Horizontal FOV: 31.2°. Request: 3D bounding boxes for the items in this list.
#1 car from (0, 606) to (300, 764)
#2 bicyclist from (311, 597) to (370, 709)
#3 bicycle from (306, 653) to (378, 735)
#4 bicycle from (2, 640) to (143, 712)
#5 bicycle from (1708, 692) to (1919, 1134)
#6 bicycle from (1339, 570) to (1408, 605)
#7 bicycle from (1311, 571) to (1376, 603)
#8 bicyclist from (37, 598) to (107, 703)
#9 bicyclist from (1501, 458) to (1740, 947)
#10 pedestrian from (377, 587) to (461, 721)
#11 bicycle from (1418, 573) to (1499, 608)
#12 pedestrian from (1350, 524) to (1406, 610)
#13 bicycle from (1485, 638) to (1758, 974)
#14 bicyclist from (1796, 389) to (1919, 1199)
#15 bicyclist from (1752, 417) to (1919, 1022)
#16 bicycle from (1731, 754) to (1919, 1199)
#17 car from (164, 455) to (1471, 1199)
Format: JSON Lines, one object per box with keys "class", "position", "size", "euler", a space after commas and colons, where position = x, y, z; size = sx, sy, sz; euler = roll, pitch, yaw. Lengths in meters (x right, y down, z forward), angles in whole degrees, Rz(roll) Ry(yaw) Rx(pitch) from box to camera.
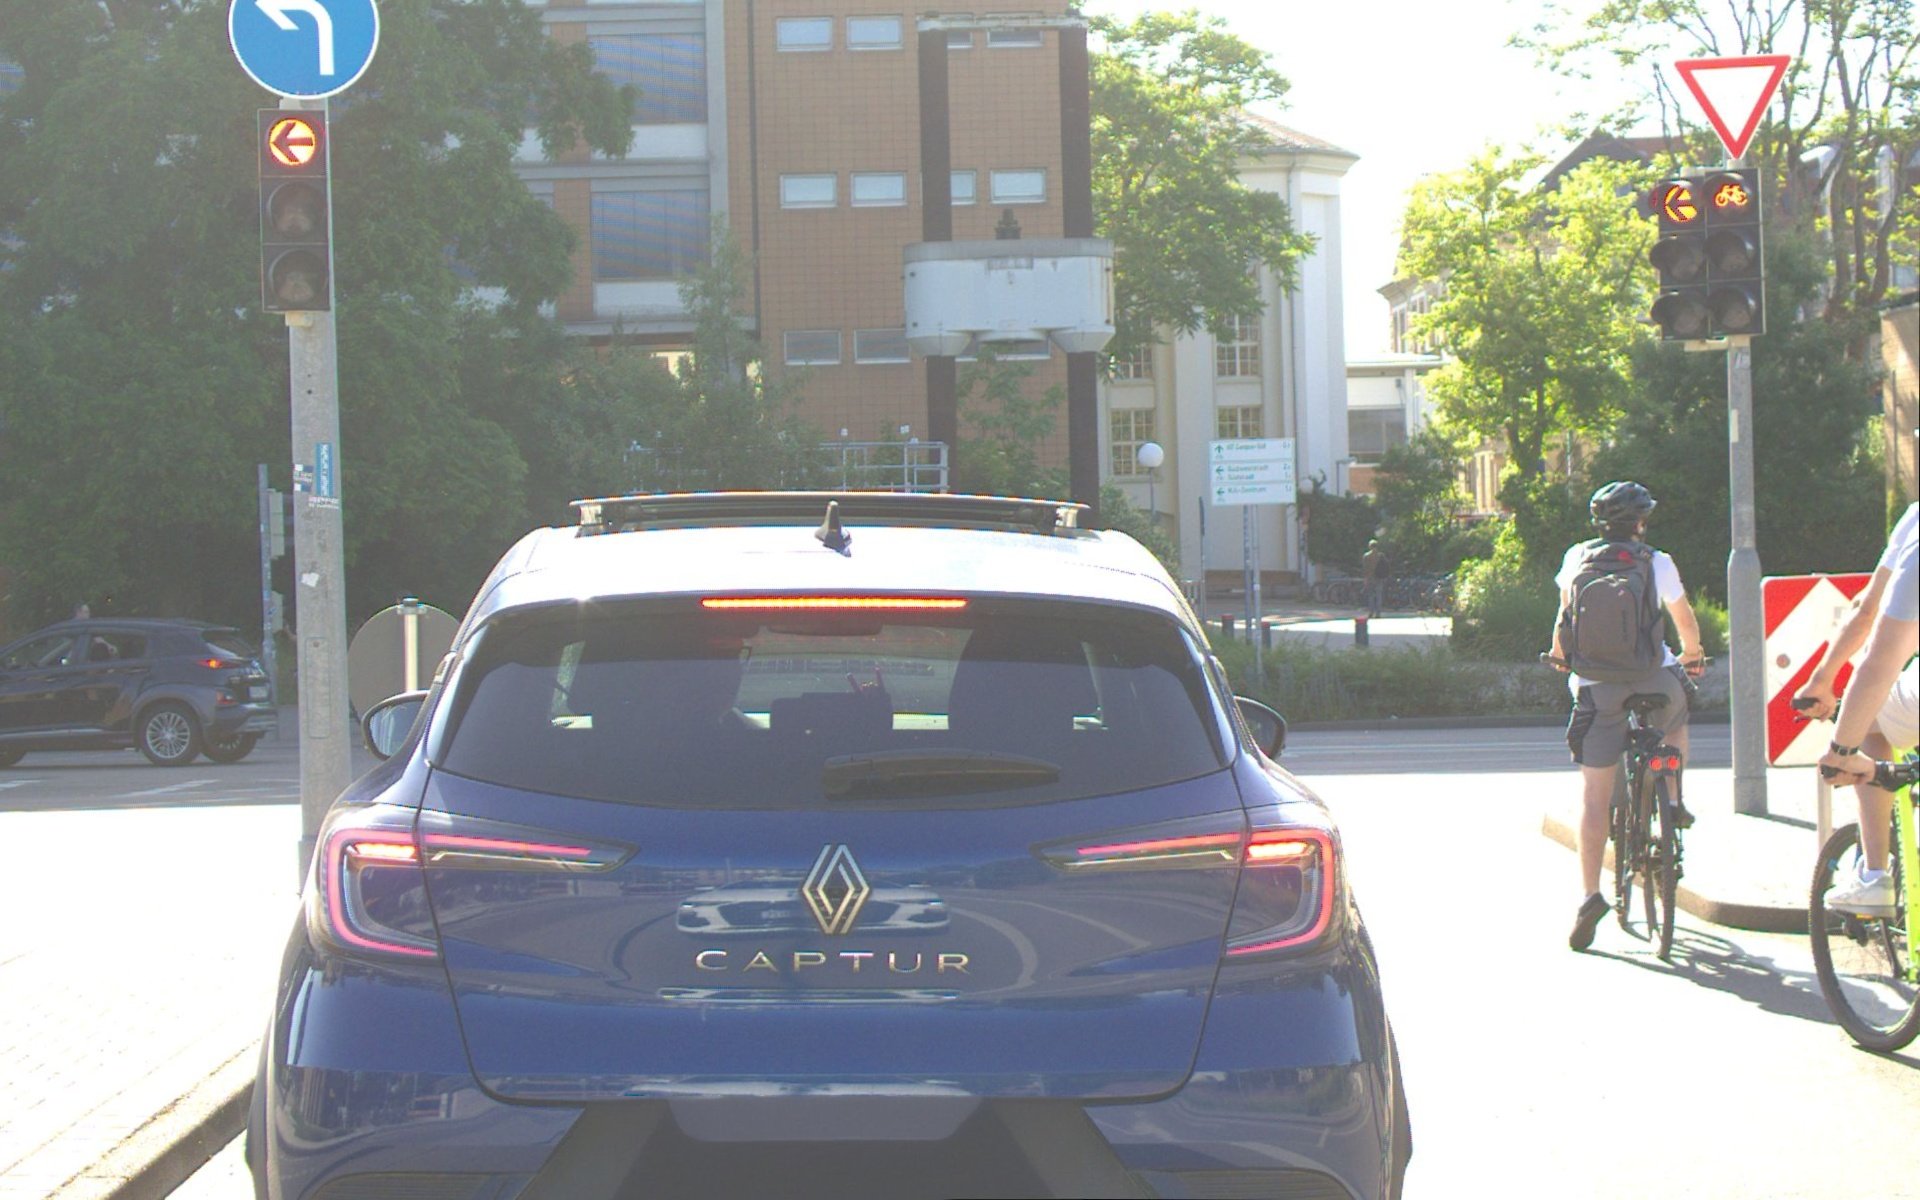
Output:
{"class": "car", "position": [-9.245, 0.895, 36.453], "size": [3.989, 1.565, 1.835], "euler": [-1, 1, 11]}
{"class": "bicyclist", "position": [-7.905, 0.679, 43.851], "size": [0.647, 1.407, 0.639], "euler": [-1, -2, -16]}
{"class": "bicycle", "position": [-7.914, 1.212, 43.950], "size": [0.698, 1.004, 1.868], "euler": [-2, -2, -16]}
{"class": "bicycle", "position": [-12.202, 1.043, 47.267], "size": [1.867, 0.955, 0.623], "euler": [-1, 1, 24]}
{"class": "bicycle", "position": [2.669, 0.824, 9.643], "size": [0.671, 1.047, 1.844], "euler": [1, 1, -2]}
{"class": "bicycle", "position": [11.404, -0.347, 94.845], "size": [1.771, 0.895, 0.765], "euler": [-1, 1, 0]}
{"class": "bicycle", "position": [11.065, -0.377, 99.209], "size": [1.771, 0.890, 0.765], "euler": [-1, 1, 0]}
{"class": "bicyclist", "position": [-12.204, 0.694, 47.263], "size": [0.637, 1.407, 0.648], "euler": [-1, 1, 24]}
{"class": "bicyclist", "position": [2.485, 0.373, 13.013], "size": [0.676, 1.779, 0.940], "euler": [1, 0, -2]}
{"class": "pedestrian", "position": [-7.610, 0.750, 48.377], "size": [0.932, 1.849, 0.807], "euler": [-1, 1, 9]}
{"class": "bicycle", "position": [12.034, -0.234, 83.043], "size": [1.770, 0.820, 0.766], "euler": [-1, 1, -10]}
{"class": "pedestrian", "position": [9.933, -0.793, 81.727], "size": [1.156, 2.007, 1.164], "euler": [-1, 1, 0]}
{"class": "bicycle", "position": [2.466, 0.735, 13.006], "size": [0.615, 1.134, 1.826], "euler": [0, 1, -2]}
{"class": "bicyclist", "position": [2.248, 0.408, 7.178], "size": [0.740, 1.668, 0.866], "euler": [-1, 1, -2]}
{"class": "bicyclist", "position": [2.677, 0.309, 9.508], "size": [0.674, 1.577, 1.081], "euler": [1, 1, -1]}
{"class": "bicycle", "position": [2.254, 0.905, 7.261], "size": [0.747, 1.047, 1.903], "euler": [-1, 1, -2]}
{"class": "car", "position": [-0.247, 0.596, 6.674], "size": [1.794, 1.649, 3.853], "euler": [0, 1, -2]}
